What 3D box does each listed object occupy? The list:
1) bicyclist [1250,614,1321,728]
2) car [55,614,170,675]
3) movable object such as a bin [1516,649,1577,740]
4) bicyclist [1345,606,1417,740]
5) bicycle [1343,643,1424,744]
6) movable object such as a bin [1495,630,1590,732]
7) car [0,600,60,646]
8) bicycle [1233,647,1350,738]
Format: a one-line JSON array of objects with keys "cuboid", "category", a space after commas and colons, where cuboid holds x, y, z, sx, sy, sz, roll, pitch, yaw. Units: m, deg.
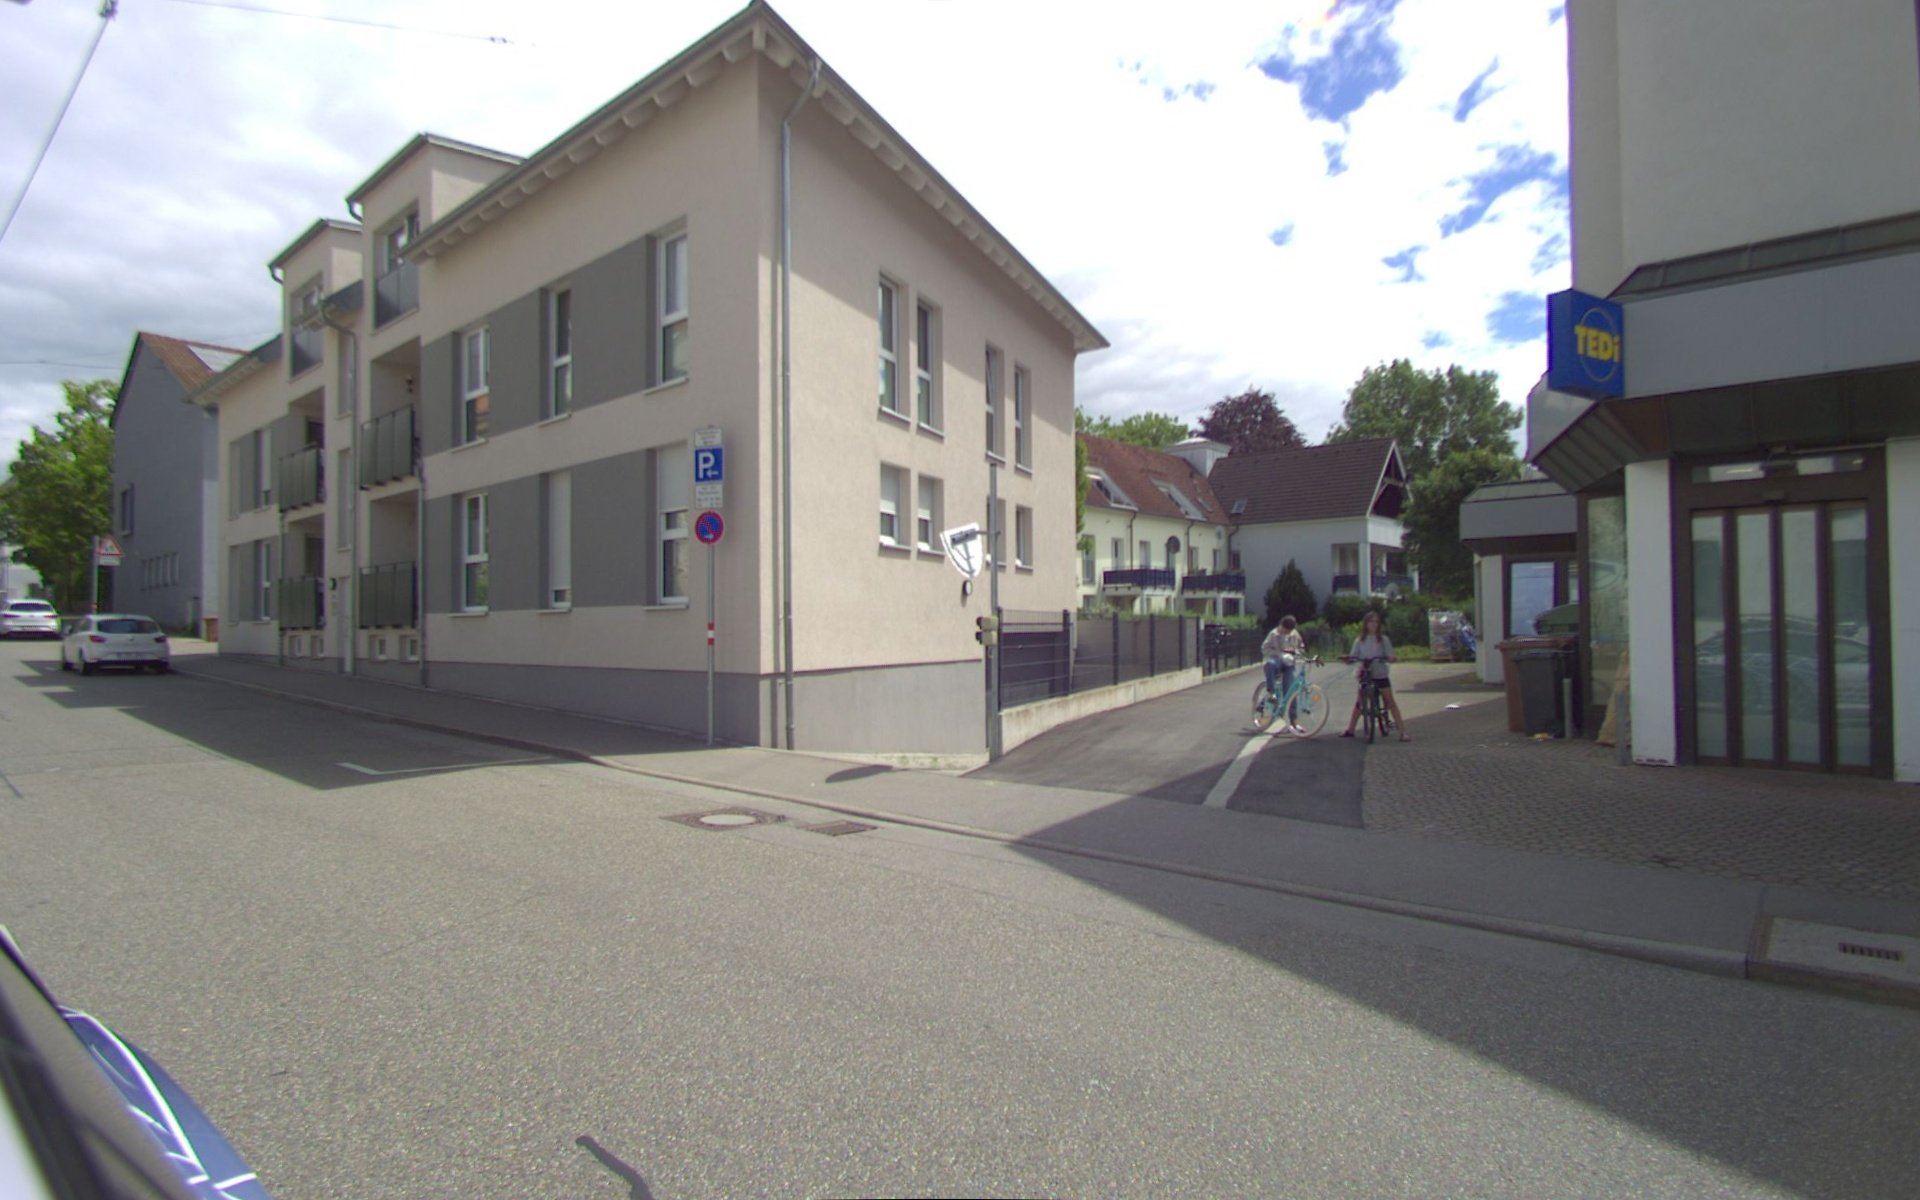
[{"cuboid": [3.712, 0.794, 11.543, 0.631, 1.251, 0.428, 0, -1, -16], "category": "bicyclist"}, {"cuboid": [-20.754, 1.051, 24.753, 3.473, 1.340, 1.643, 0, -2, 42], "category": "car"}, {"cuboid": [6.195, 0.988, 10.687, 0.443, 0.918, 0.403, -5, -3, 41], "category": "movable object such as a bin"}, {"cuboid": [4.462, 0.771, 10.748, 0.584, 1.376, 0.422, -3, -3, 17], "category": "bicyclist"}, {"cuboid": [4.494, 0.963, 10.827, 0.550, 0.961, 1.683, -2, -2, 15], "category": "bicycle"}, {"cuboid": [6.495, 0.896, 11.280, 0.737, 1.073, 0.677, -5, -3, 41], "category": "movable object such as a bin"}, {"cuboid": [-34.156, 0.815, 36.764, 4.066, 1.499, 1.714, 1, -1, 42], "category": "car"}, {"cuboid": [3.711, 1.011, 11.455, 0.451, 0.924, 1.593, -1, -2, -13], "category": "bicycle"}]
